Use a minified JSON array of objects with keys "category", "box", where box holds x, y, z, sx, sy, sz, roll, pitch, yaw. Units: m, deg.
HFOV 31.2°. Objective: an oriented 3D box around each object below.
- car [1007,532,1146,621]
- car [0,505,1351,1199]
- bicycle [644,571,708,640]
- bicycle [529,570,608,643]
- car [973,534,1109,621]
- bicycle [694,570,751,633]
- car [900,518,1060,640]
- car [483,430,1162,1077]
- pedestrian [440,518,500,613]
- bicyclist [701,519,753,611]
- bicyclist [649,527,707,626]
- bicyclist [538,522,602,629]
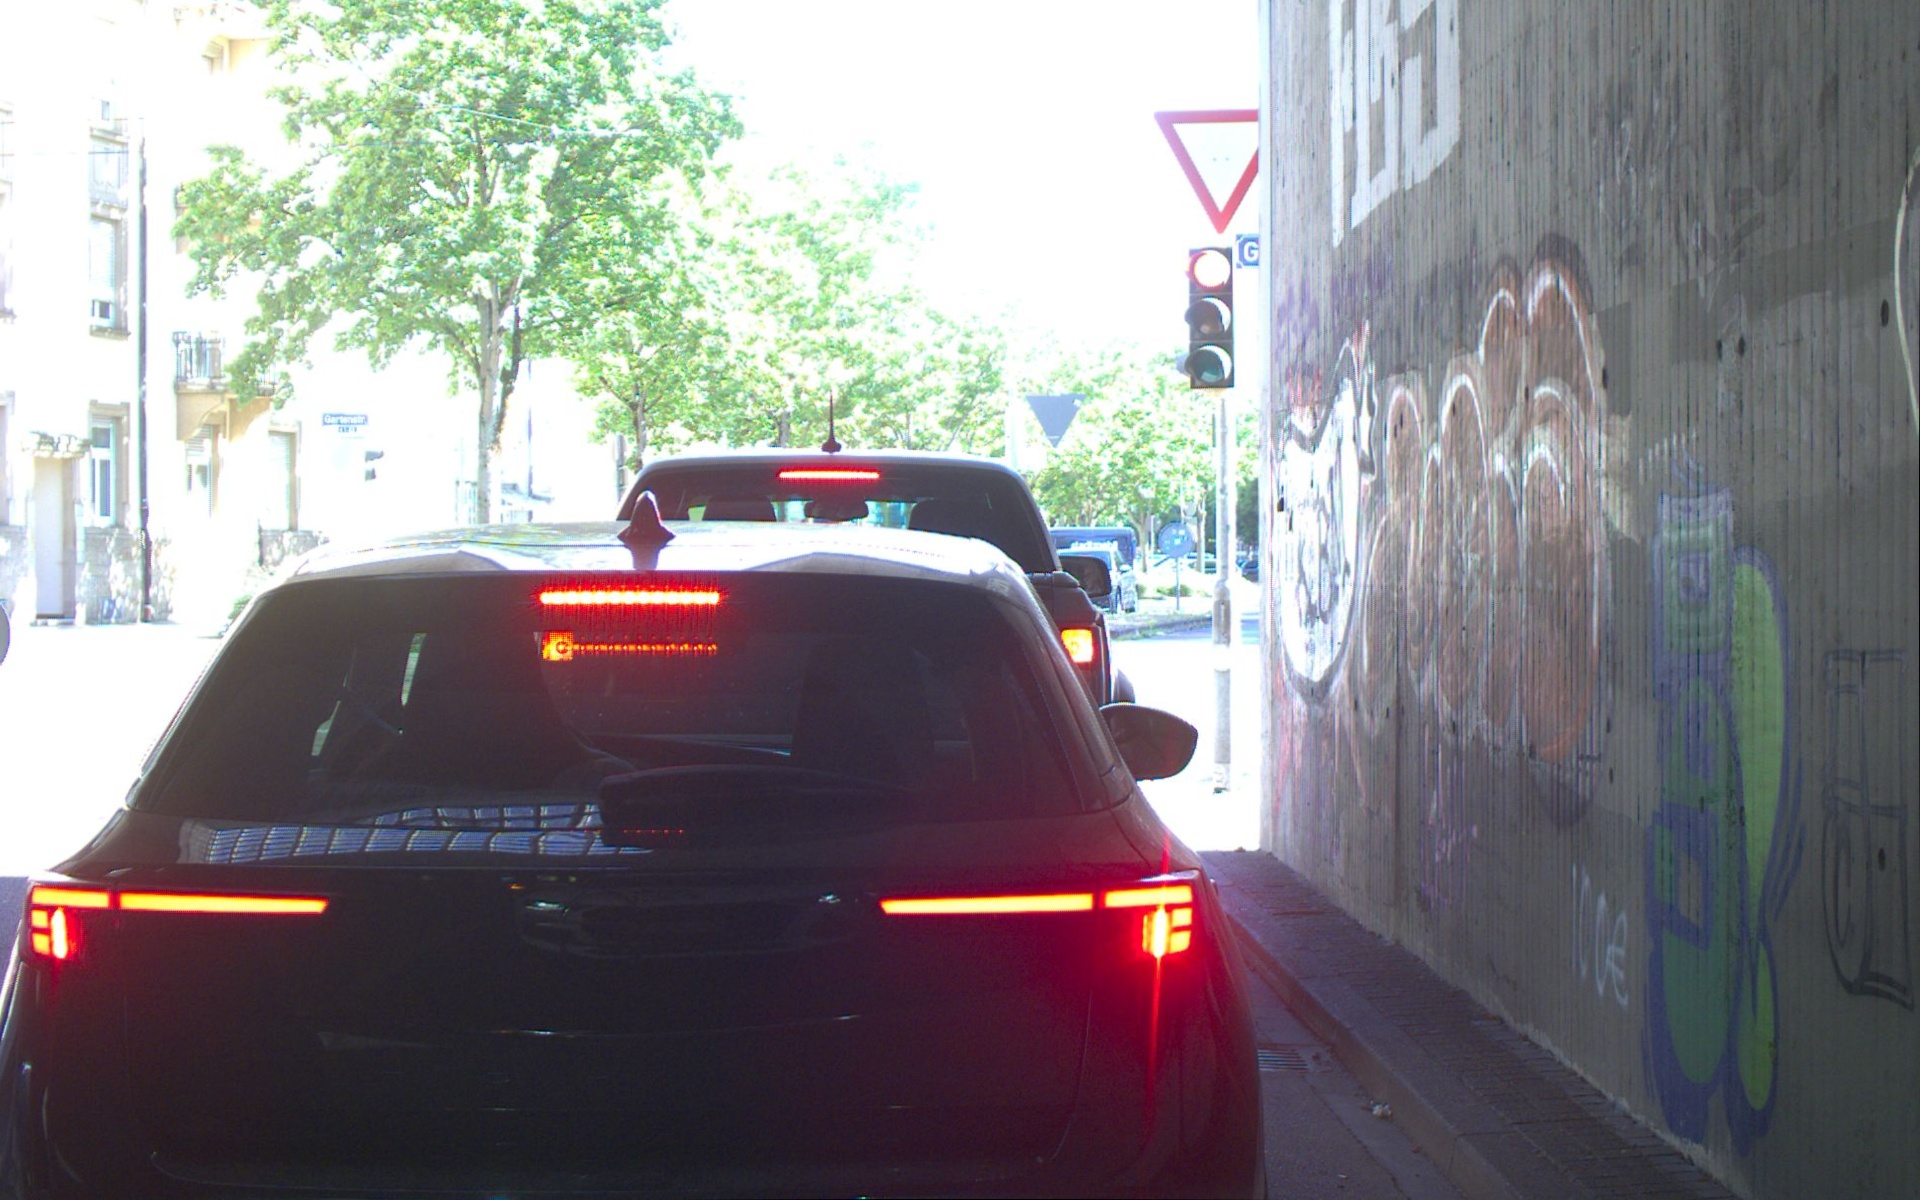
[{"category":"car","box":[2.387,-0.437,69.009,2.221,1.713,4.458,0,-1,10]},{"category":"car","box":[-0.498,0.622,6.074,1.882,1.532,3.964,0,1,-1]},{"category":"bicycle","box":[-4.529,0.079,54.974,0.626,1.064,1.688,1,1,9]},{"category":"bicycle","box":[-5.862,0.092,51.519,0.732,1.064,1.688,1,1,9]},{"category":"car","box":[1.501,-0.384,62.199,1.969,1.492,3.895,0,-1,9]},{"category":"bicycle","box":[-4.143,0.022,60.038,0.626,1.064,1.688,1,1,9]},{"category":"car","box":[0.293,-0.236,44.177,1.968,1.492,3.896,0,-1,1]},{"category":"car","box":[-0.418,0.405,11.895,1.945,1.853,3.964,0,1,-1]},{"category":"pedestrian","box":[-10.514,-0.744,73.817,0.992,2.007,1.088,0,1,8]},{"category":"bicyclist","box":[-4.074,-0.612,60.168,0.729,1.576,0.814,1,0,9]},{"category":"bicyclist","box":[-4.511,-0.377,54.986,0.729,1.576,0.814,1,0,9]},{"category":"bicyclist","box":[-5.843,-0.364,51.545,0.729,1.576,0.814,1,0,9]}]
